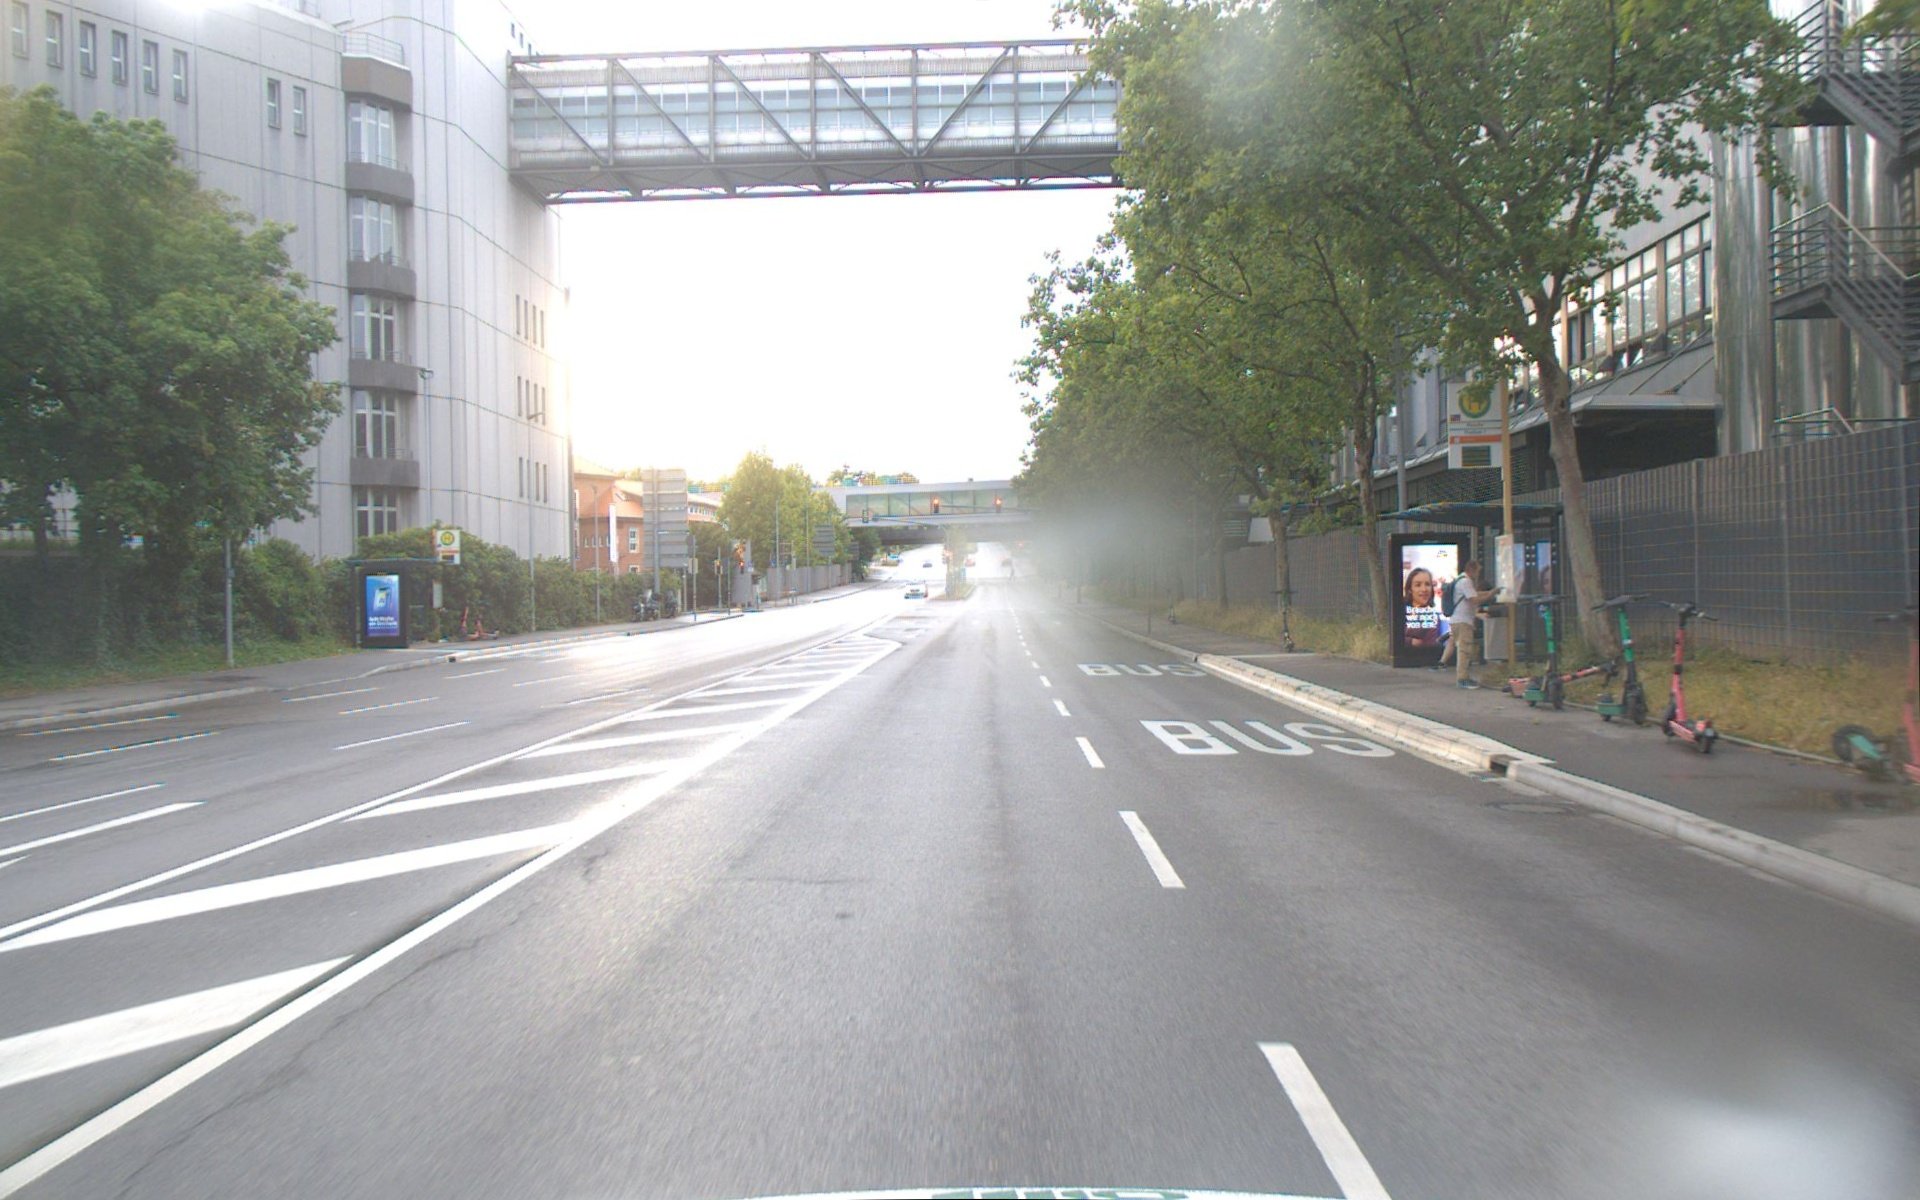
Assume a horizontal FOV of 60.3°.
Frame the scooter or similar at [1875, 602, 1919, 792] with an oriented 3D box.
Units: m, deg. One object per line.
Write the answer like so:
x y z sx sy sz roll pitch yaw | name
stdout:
6.560 0.646 10.975 0.380 1.248 1.074 -1 0 1 | scooter or similar

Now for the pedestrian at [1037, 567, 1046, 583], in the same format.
10.734 -3.257 218.483 1.034 2.049 1.152 -1 0 12 | pedestrian

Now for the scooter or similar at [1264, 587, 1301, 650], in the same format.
6.822 0.373 34.922 0.684 1.266 1.923 -1 0 12 | scooter or similar

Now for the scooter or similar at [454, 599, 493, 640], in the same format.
-15.498 0.607 52.687 0.513 1.274 1.800 -1 0 6 | scooter or similar

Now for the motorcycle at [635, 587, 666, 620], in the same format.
-15.420 0.175 82.356 0.939 1.583 3.299 -1 0 -1 | motorcycle

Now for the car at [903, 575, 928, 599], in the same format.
-3.604 -1.028 132.869 1.953 1.803 3.998 -1 0 -2 | car

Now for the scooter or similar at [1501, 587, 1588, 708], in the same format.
6.674 0.522 18.939 0.492 1.315 1.434 -1 0 1 | scooter or similar

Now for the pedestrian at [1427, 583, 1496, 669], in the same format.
8.069 0.409 26.640 0.930 1.340 0.686 -1 0 7 | pedestrian

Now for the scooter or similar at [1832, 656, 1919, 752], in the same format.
8.044 0.853 13.520 0.646 0.726 1.509 -2 1 -30 | scooter or similar

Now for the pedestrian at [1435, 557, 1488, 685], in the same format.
6.792 0.272 22.418 0.471 1.696 0.662 -1 0 -1 | pedestrian

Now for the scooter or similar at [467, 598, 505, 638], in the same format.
-15.676 0.594 54.728 0.487 1.274 1.922 -1 0 6 | scooter or similar

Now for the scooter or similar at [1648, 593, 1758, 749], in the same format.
6.493 0.598 14.502 0.424 1.292 1.194 -1 0 1 | scooter or similar

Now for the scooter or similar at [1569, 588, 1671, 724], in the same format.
6.693 0.540 16.821 0.465 1.315 1.434 -1 0 1 | scooter or similar

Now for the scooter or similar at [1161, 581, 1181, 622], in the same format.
7.273 0.033 56.995 0.596 1.390 1.922 -1 0 6 | scooter or similar

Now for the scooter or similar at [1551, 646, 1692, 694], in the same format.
8.011 0.844 20.092 1.528 0.528 0.644 -1 1 18 | scooter or similar

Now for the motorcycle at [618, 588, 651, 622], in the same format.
-15.487 0.217 78.772 0.895 1.559 3.299 -1 0 -1 | motorcycle
